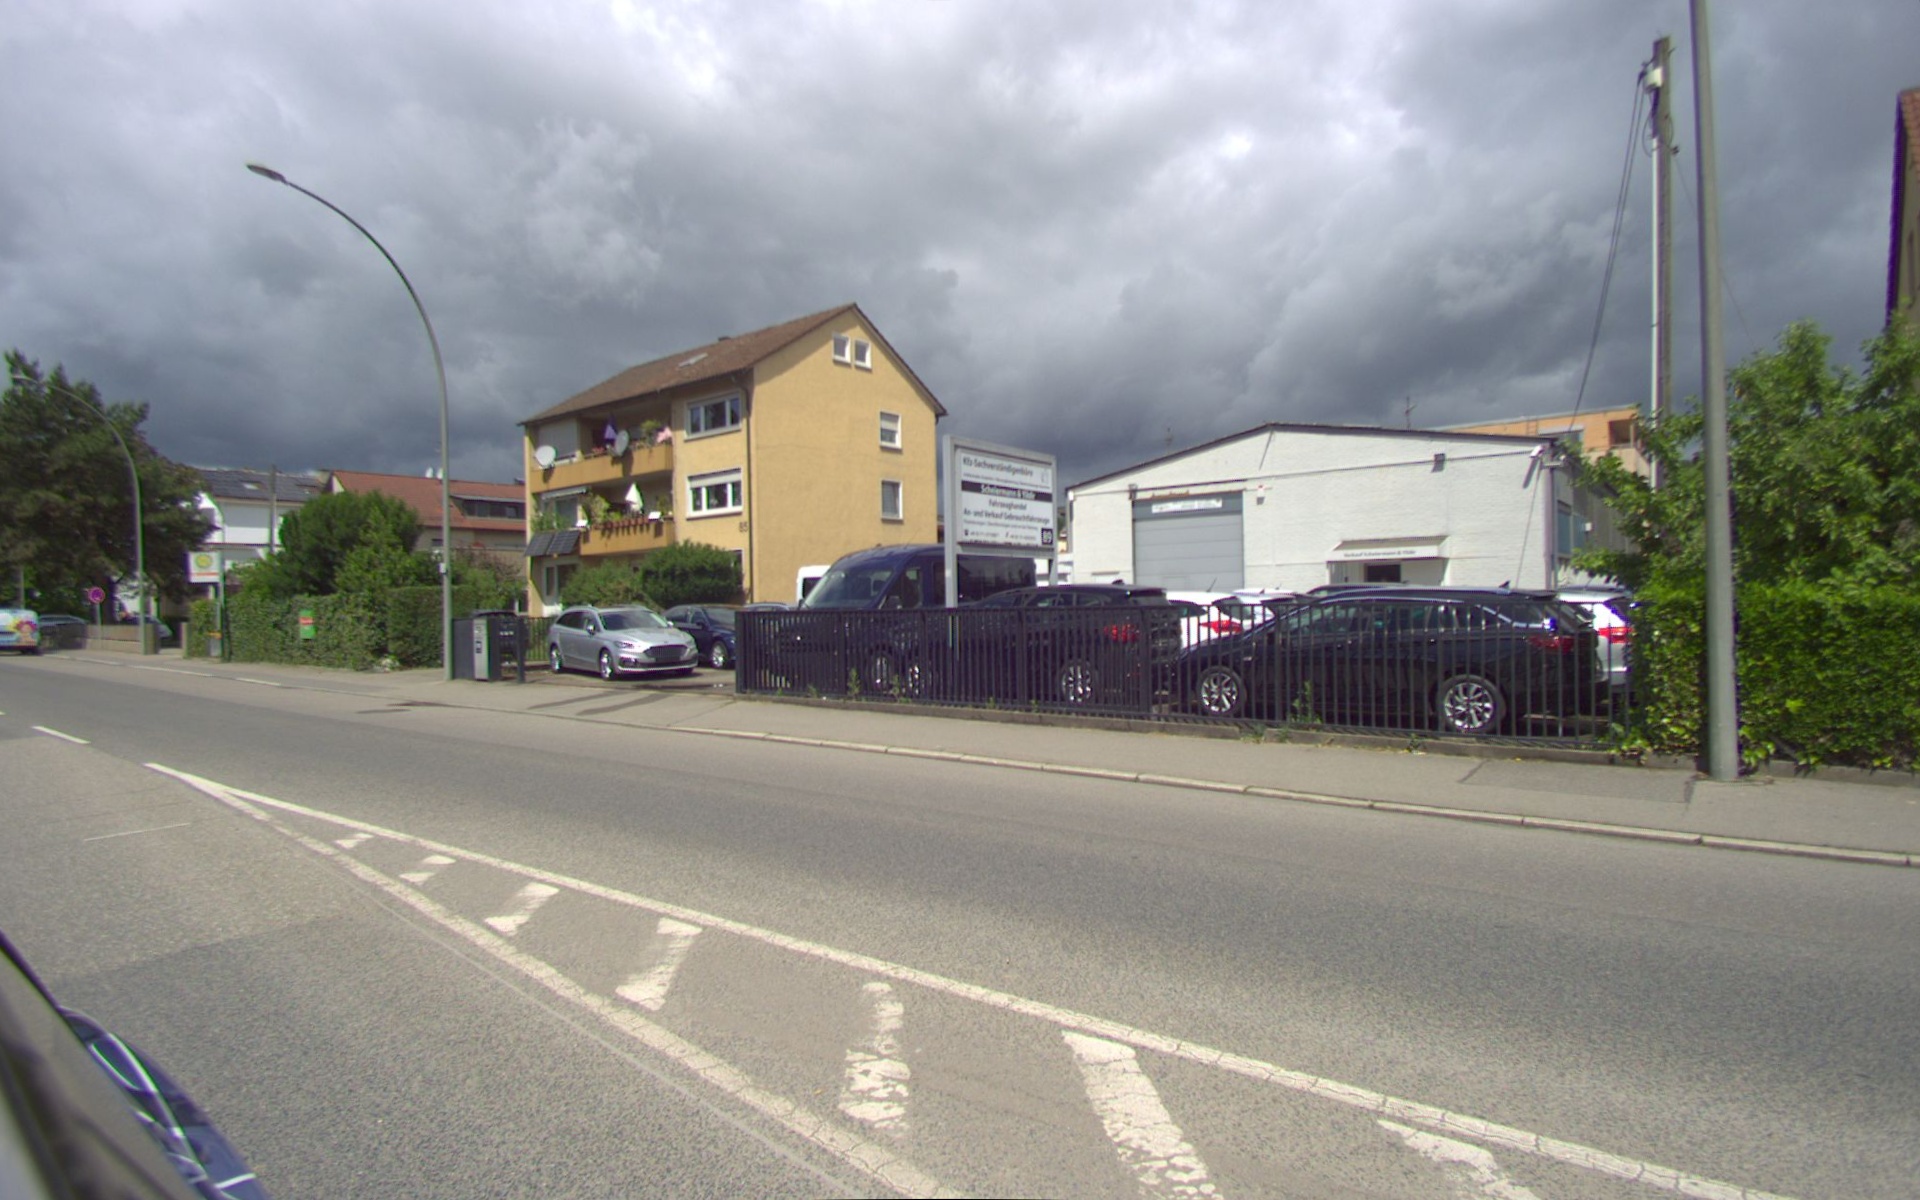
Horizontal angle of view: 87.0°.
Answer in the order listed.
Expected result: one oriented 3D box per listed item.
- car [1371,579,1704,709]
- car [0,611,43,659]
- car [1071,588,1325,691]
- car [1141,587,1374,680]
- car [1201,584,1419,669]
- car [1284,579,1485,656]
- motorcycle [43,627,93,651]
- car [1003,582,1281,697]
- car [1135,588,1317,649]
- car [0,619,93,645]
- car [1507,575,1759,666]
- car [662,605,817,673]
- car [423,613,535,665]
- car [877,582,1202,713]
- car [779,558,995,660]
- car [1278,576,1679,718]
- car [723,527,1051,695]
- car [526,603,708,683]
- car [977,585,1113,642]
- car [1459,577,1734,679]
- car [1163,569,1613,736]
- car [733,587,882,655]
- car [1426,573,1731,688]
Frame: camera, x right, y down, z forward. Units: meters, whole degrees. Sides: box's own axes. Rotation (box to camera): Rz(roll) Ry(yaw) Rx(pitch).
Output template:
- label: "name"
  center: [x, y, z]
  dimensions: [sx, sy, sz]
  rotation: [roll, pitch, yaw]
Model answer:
- label: "car"
  center: [8.277, 0.587, 14.663]
  dimensions: [3.994, 1.630, 1.759]
  rotation: [-1, -1, 38]
- label: "car"
  center: [-39.581, 1.467, 41.754]
  dimensions: [4.891, 1.868, 1.815]
  rotation: [-2, -5, 40]
- label: "car"
  center: [4.143, 0.658, 17.830]
  dimensions: [3.990, 1.630, 1.761]
  rotation: [-1, -1, 35]
- label: "car"
  center: [5.707, 0.627, 19.584]
  dimensions: [3.990, 1.630, 1.761]
  rotation: [-1, -1, 35]
- label: "car"
  center: [7.295, 0.537, 21.223]
  dimensions: [3.990, 1.630, 1.761]
  rotation: [-1, -1, 35]
- label: "car"
  center: [9.696, 0.406, 23.204]
  dimensions: [3.990, 1.630, 1.761]
  rotation: [-1, -1, 35]
- label: "motorcycle"
  center: [-46.809, 2.046, 53.133]
  dimensions: [1.845, 1.174, 0.827]
  rotation: [0, -1, -34]
- label: "car"
  center: [2.841, 0.592, 16.127]
  dimensions: [3.990, 1.630, 1.761]
  rotation: [-1, -1, 35]
- label: "car"
  center: [8.054, 0.566, 30.908]
  dimensions: [4.998, 1.726, 2.030]
  rotation: [-1, -1, 37]
- label: "car"
  center: [-60.759, 2.084, 66.869]
  dimensions: [1.970, 1.563, 4.960]
  rotation: [-1, 0, 38]
- label: "car"
  center: [13.217, 0.400, 20.084]
  dimensions: [3.990, 1.630, 1.761]
  rotation: [-1, -1, 35]
- label: "car"
  center: [-5.280, 0.864, 23.825]
  dimensions: [1.821, 1.437, 4.338]
  rotation: [0, -1, -39]
- label: "car"
  center: [-14.396, 1.119, 30.171]
  dimensions: [1.823, 1.437, 4.335]
  rotation: [0, -1, -43]
- label: "car"
  center: [1.068, 0.628, 14.591]
  dimensions: [4.277, 1.607, 2.013]
  rotation: [-1, -1, 37]
- label: "car"
  center: [-2.126, 0.302, 27.884]
  dimensions: [6.134, 2.514, 2.386]
  rotation: [-1, -3, 43]
- label: "car"
  center: [6.540, 0.538, 12.922]
  dimensions: [4.260, 1.518, 2.134]
  rotation: [-1, -1, 37]
- label: "car"
  center: [-1.076, 0.194, 18.225]
  dimensions: [2.475, 2.515, 5.977]
  rotation: [-1, -1, 39]
- label: "car"
  center: [-7.582, 0.863, 21.977]
  dimensions: [1.968, 1.497, 5.349]
  rotation: [0, -1, -40]
- label: "car"
  center: [2.820, 0.468, 34.135]
  dimensions: [4.328, 1.805, 1.826]
  rotation: [-1, -1, 41]
- label: "car"
  center: [11.302, 0.486, 18.174]
  dimensions: [3.990, 1.630, 1.761]
  rotation: [-1, -1, 35]
- label: "car"
  center: [4.708, 0.525, 11.362]
  dimensions: [4.260, 1.518, 2.133]
  rotation: [-1, -1, 37]
- label: "car"
  center: [-3.973, 0.518, 25.890]
  dimensions: [1.821, 1.589, 4.338]
  rotation: [0, -1, -39]
- label: "car"
  center: [9.835, 0.464, 16.251]
  dimensions: [3.994, 1.630, 1.759]
  rotation: [-1, -1, 38]
